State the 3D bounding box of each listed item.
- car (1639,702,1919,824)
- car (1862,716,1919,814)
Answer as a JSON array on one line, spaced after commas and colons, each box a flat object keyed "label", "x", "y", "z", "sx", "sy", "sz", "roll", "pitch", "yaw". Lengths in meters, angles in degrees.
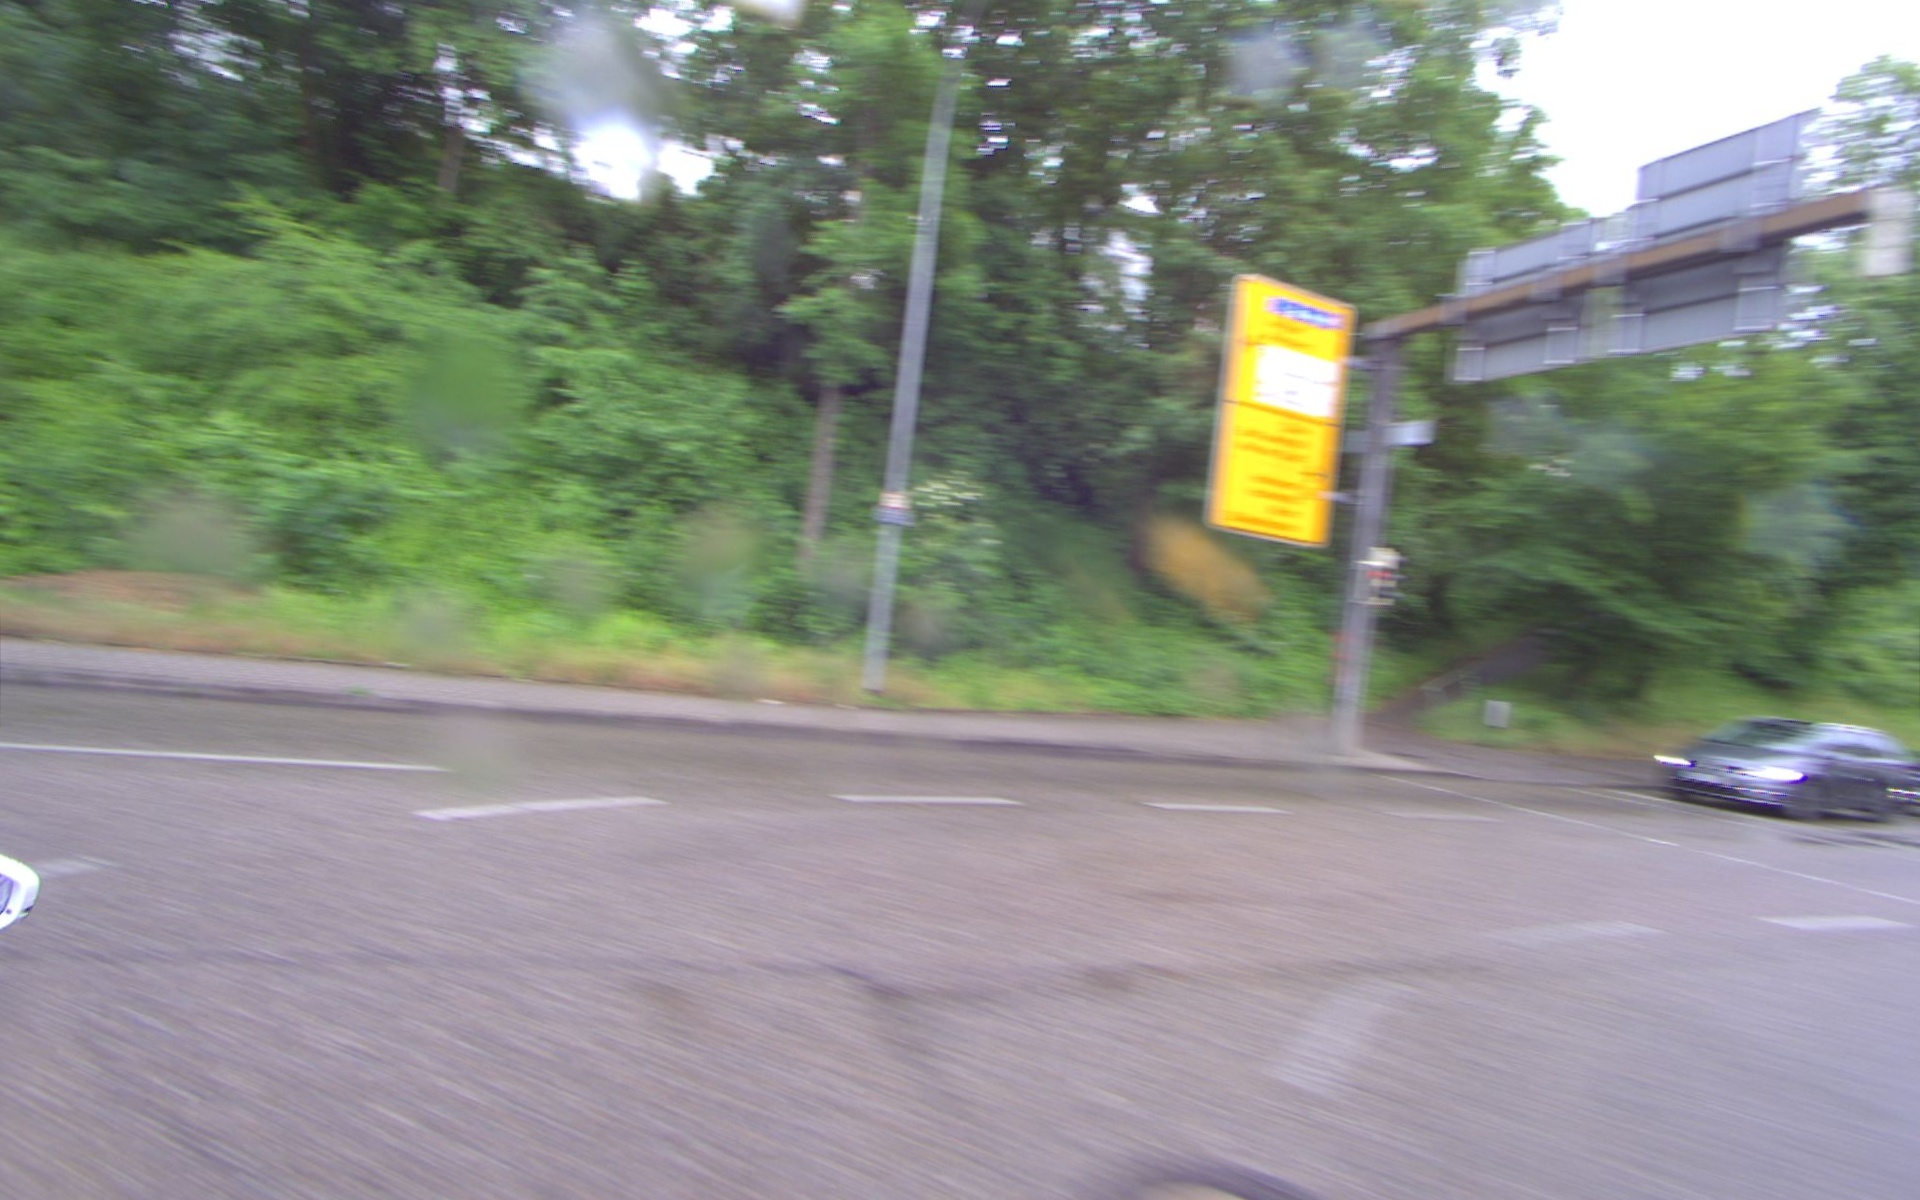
[{"label": "car", "x": 13.085, "y": 2.589, "z": 15.972, "sx": 4.177, "sy": 1.425, "sz": 1.811, "roll": 7, "pitch": -1, "yaw": -24}, {"label": "car", "x": 19.098, "y": 3.222, "z": 18.540, "sx": 4.562, "sy": 1.636, "sz": 1.989, "roll": 7, "pitch": -1, "yaw": -25}]
